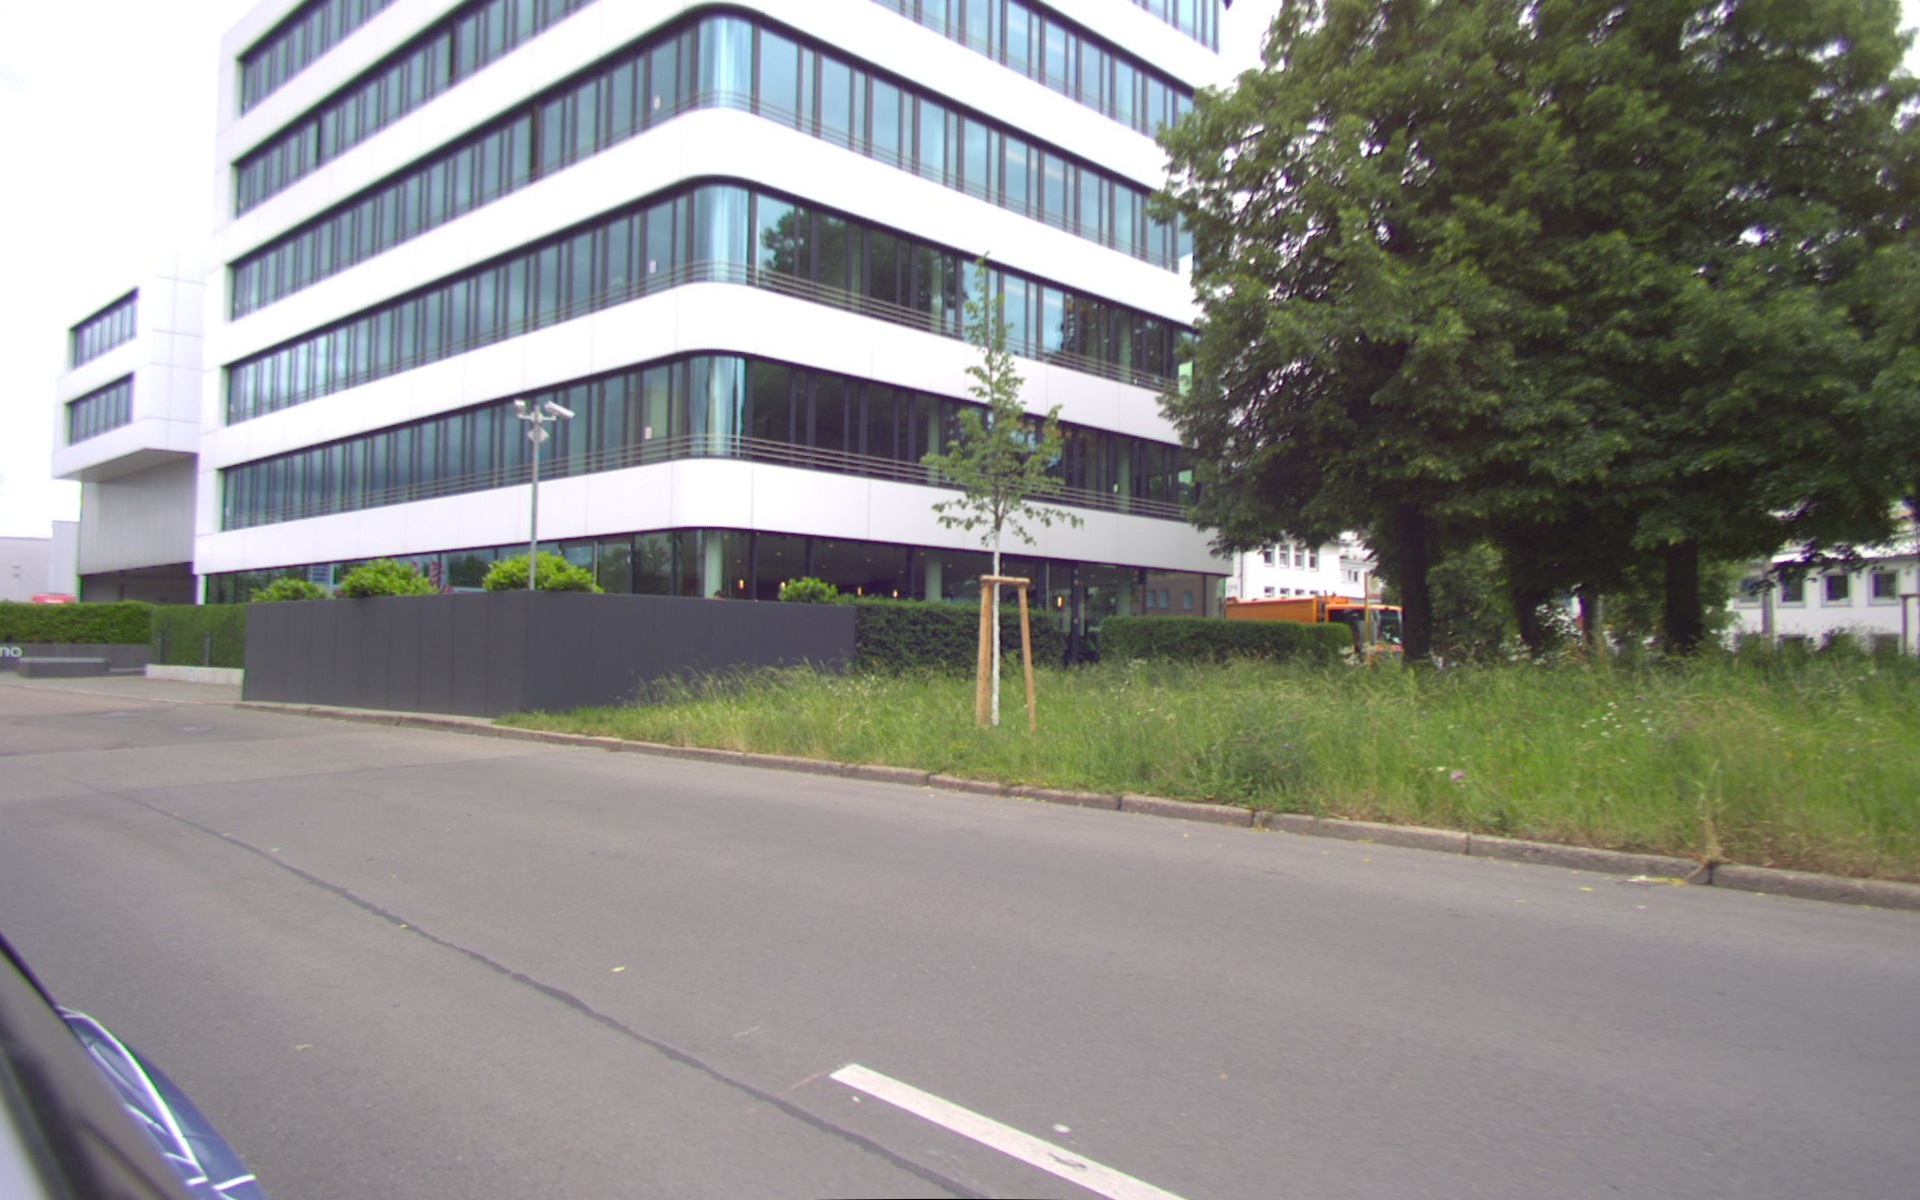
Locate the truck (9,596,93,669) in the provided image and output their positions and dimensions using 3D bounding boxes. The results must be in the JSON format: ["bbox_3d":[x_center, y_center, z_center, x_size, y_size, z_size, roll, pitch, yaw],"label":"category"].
[{"bbox_3d":[-54.309,2.020,60.640,2.705,4.062,7.110,2,-4,-34],"label":"truck"}]

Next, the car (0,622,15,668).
[{"bbox_3d":[-38.531,1.772,39.683,3.173,1.775,1.635,-2,-2,37],"label":"car"}]

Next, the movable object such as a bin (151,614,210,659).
[{"bbox_3d":[-40.117,1.890,52.125,2.117,2.240,1.757,3,-4,-32],"label":"movable object such as a bin"}]

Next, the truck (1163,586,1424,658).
[{"bbox_3d":[13.001,1.075,40.812,2.933,2.541,10.273,2,-4,-34],"label":"truck"}]
